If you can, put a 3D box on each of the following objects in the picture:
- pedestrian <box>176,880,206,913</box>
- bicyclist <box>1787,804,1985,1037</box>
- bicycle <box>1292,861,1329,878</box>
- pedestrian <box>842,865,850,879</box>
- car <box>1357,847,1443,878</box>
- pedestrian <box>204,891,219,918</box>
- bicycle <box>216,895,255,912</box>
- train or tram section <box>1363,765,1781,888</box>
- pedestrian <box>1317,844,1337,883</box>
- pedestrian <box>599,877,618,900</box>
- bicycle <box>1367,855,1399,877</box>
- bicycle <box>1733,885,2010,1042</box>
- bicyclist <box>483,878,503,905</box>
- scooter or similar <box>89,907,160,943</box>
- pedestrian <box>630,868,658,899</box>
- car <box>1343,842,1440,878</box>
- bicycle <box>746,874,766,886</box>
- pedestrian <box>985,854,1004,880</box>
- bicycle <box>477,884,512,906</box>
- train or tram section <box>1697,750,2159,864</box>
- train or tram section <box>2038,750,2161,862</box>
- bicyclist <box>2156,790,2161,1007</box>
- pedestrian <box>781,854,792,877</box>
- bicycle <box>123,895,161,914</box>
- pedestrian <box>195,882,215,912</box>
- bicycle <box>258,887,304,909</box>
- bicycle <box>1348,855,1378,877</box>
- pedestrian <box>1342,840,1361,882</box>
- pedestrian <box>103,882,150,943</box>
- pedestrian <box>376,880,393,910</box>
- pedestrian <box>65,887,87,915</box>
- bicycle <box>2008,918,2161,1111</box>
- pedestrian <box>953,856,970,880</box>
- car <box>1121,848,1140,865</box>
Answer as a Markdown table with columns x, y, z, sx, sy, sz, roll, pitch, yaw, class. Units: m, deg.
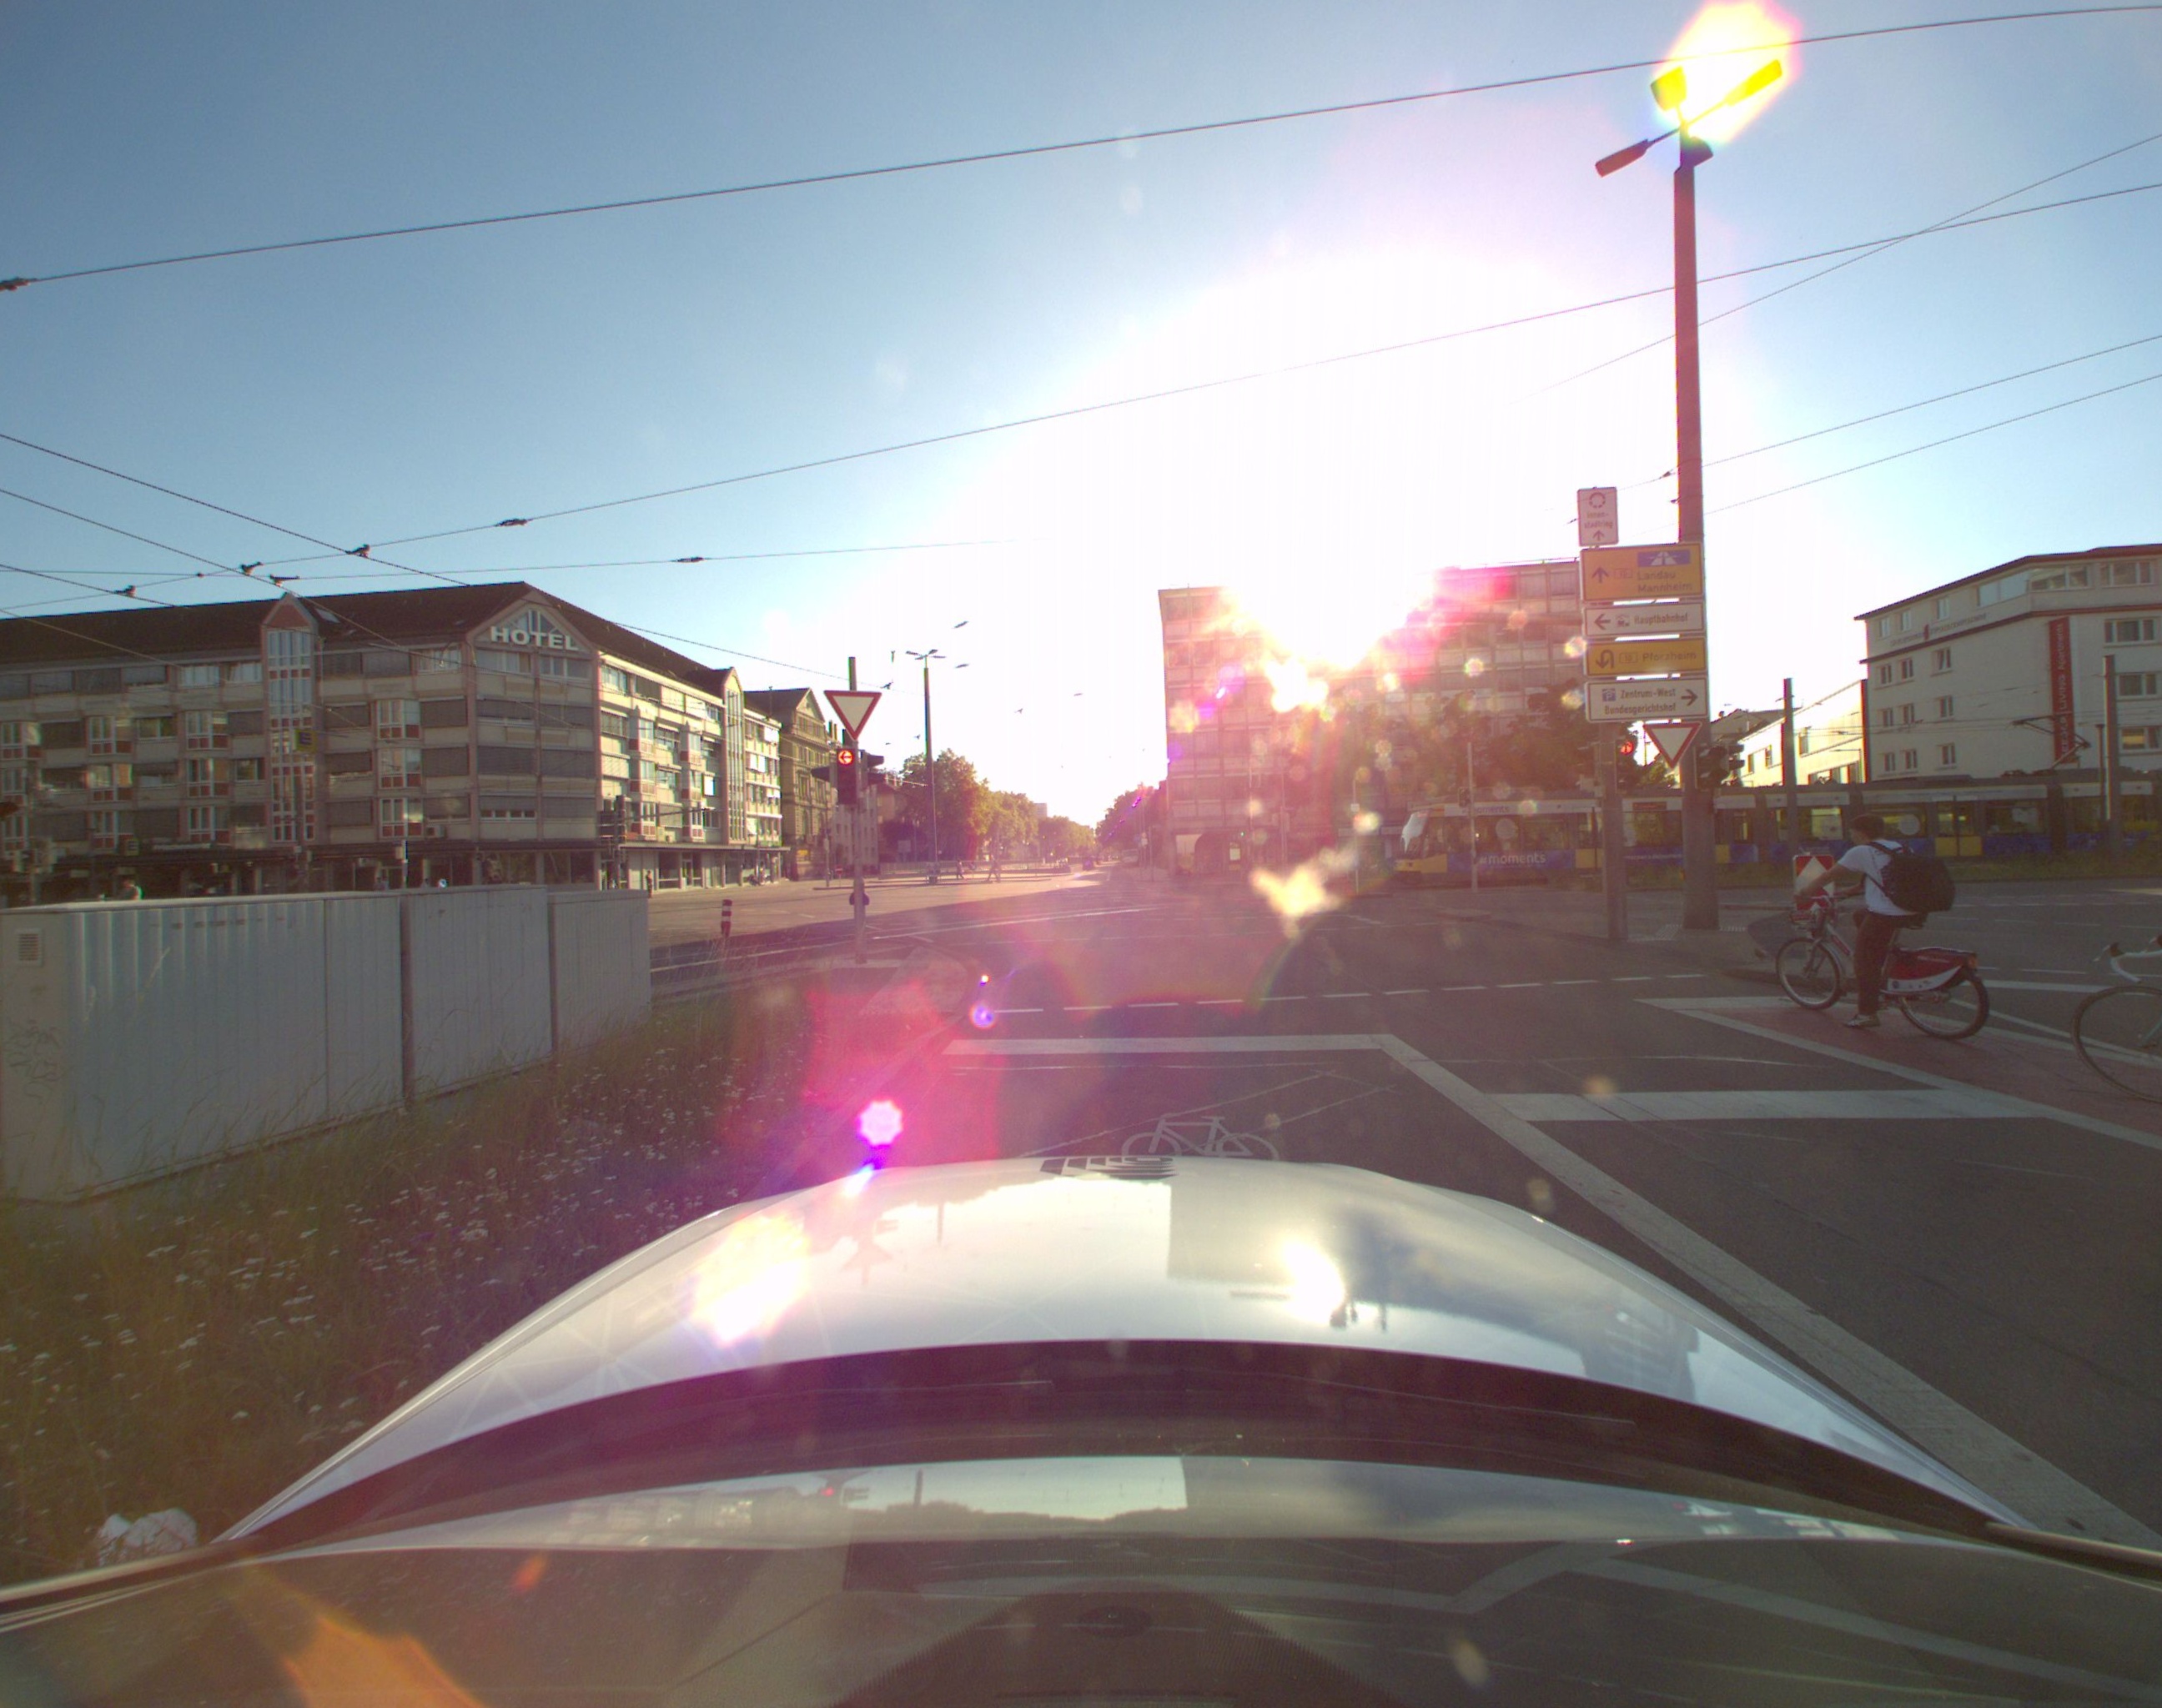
| x | y | z | sx | sy | sz | roll | pitch | yaw | class |
| --- | --- | --- | --- | --- | --- | --- | --- | --- | --- |
| -45.984 | 2.202 | 42.091 | 0.680 | 1.660 | 0.780 | 0 | -1 | -4 | pedestrian |
| 6.591 | 0.507 | 6.729 | 0.540 | 1.768 | 1.059 | 0 | -1 | -3 | bicyclist |
| 13.527 | 0.908 | 48.037 | 2.017 | 0.940 | 0.671 | 0 | -1 | 0 | bicycle |
| -28.468 | 2.133 | 98.592 | 0.693 | 1.695 | 0.724 | 0 | -1 | 1 | pedestrian |
| 17.314 | 0.484 | 44.352 | 4.046 | 1.618 | 1.847 | 0 | -1 | 6 | car |
| -54.999 | 3.199 | 51.508 | 0.614 | 1.635 | 0.596 | -1 | -4 | -43 | pedestrian |
| -52.457 | 3.070 | 50.516 | 2.060 | 0.917 | 0.502 | -2 | -1 | 7 | bicycle |
| 17.642 | -0.956 | 29.923 | 13.284 | 3.833 | 3.712 | -2 | -1 | -3 | train or tram section |
| 10.859 | 0.406 | 35.938 | 0.691 | 1.682 | 1.044 | -1 | -1 | 8 | pedestrian |
| -29.645 | 2.166 | 51.102 | 0.703 | 1.453 | 0.855 | 0 | -1 | -3 | pedestrian |
| 18.187 | 0.711 | 49.094 | 0.748 | 1.143 | 2.637 | 0 | 2 | -4 | bicycle |
| 6.571 | 0.842 | 6.925 | 0.540 | 1.101 | 1.807 | 0 | -1 | -3 | bicycle |
| -34.860 | 2.218 | 48.255 | 0.636 | 1.596 | 0.659 | 0 | 2 | 5 | bicyclist |
| -29.336 | 2.173 | 25.001 | 0.483 | 1.006 | 1.333 | -1 | -1 | 9 | scooter or similar |
| -28.487 | 1.945 | 53.101 | 1.191 | 1.882 | 0.856 | 0 | 8 | -3 | pedestrian |
| 14.735 | 0.291 | 38.802 | 3.966 | 1.618 | 1.847 | 0 | -1 | 6 | car |
| -29.651 | 2.367 | 74.405 | 0.447 | 1.071 | 2.102 | -1 | -1 | 19 | bicycle |
| -5.755 | 0.866 | 54.408 | 1.191 | 1.731 | 0.855 | 0 | -1 | -3 | pedestrian |
| -34.847 | 2.439 | 48.406 | 0.635 | 1.145 | 1.773 | 0 | 2 | 6 | bicycle |
| 30.736 | -1.602 | 30.120 | 12.885 | 3.834 | 3.718 | 0 | -1 | 2 | train or tram section |
| 43.575 | -1.692 | 29.441 | 12.879 | 3.834 | 3.720 | 0 | -1 | 4 | train or tram section |
| 6.167 | 0.524 | 4.032 | 0.612 | 1.746 | 0.791 | 0 | -1 | -3 | bicyclist |
| -31.254 | 1.188 | 86.531 | 0.926 | 2.398 | 0.958 | 0 | -1 | -9 | pedestrian |
| -60.180 | 3.242 | 52.223 | 0.481 | 1.119 | 1.650 | 0 | -1 | 2 | bicycle |
| -56.211 | 2.744 | 52.245 | 0.598 | 1.852 | 0.613 | -1 | -1 | 12 | pedestrian |
| -49.459 | 2.711 | 50.342 | 2.312 | 1.227 | 0.731 | -2 | -1 | 7 | bicycle |
| 16.993 | 0.711 | 49.077 | 0.748 | 1.143 | 2.637 | 0 | 2 | -4 | bicycle |
| 11.721 | 0.289 | 35.305 | 0.690 | 1.793 | 1.046 | -1 | -1 | 13 | pedestrian |
| -29.305 | 1.781 | 25.006 | 0.557 | 1.847 | 0.725 | -1 | -1 | 8 | pedestrian |
| -41.442 | 2.438 | 48.482 | 0.625 | 1.694 | 0.859 | 0 | -1 | -30 | pedestrian |
| -64.718 | 3.028 | 52.447 | 0.671 | 1.778 | 0.825 | -1 | -1 | 32 | pedestrian |
| 6.190 | 0.903 | 4.329 | 0.540 | 1.001 | 1.692 | 0 | -1 | -3 | bicycle |
| -7.695 | 0.901 | 52.512 | 0.858 | 1.465 | 0.680 | 0 | -6 | -27 | pedestrian |
| 6.317 | 0.310 | 103.964 | 2.275 | 2.172 | 4.838 | 0 | -1 | 4 | car |
